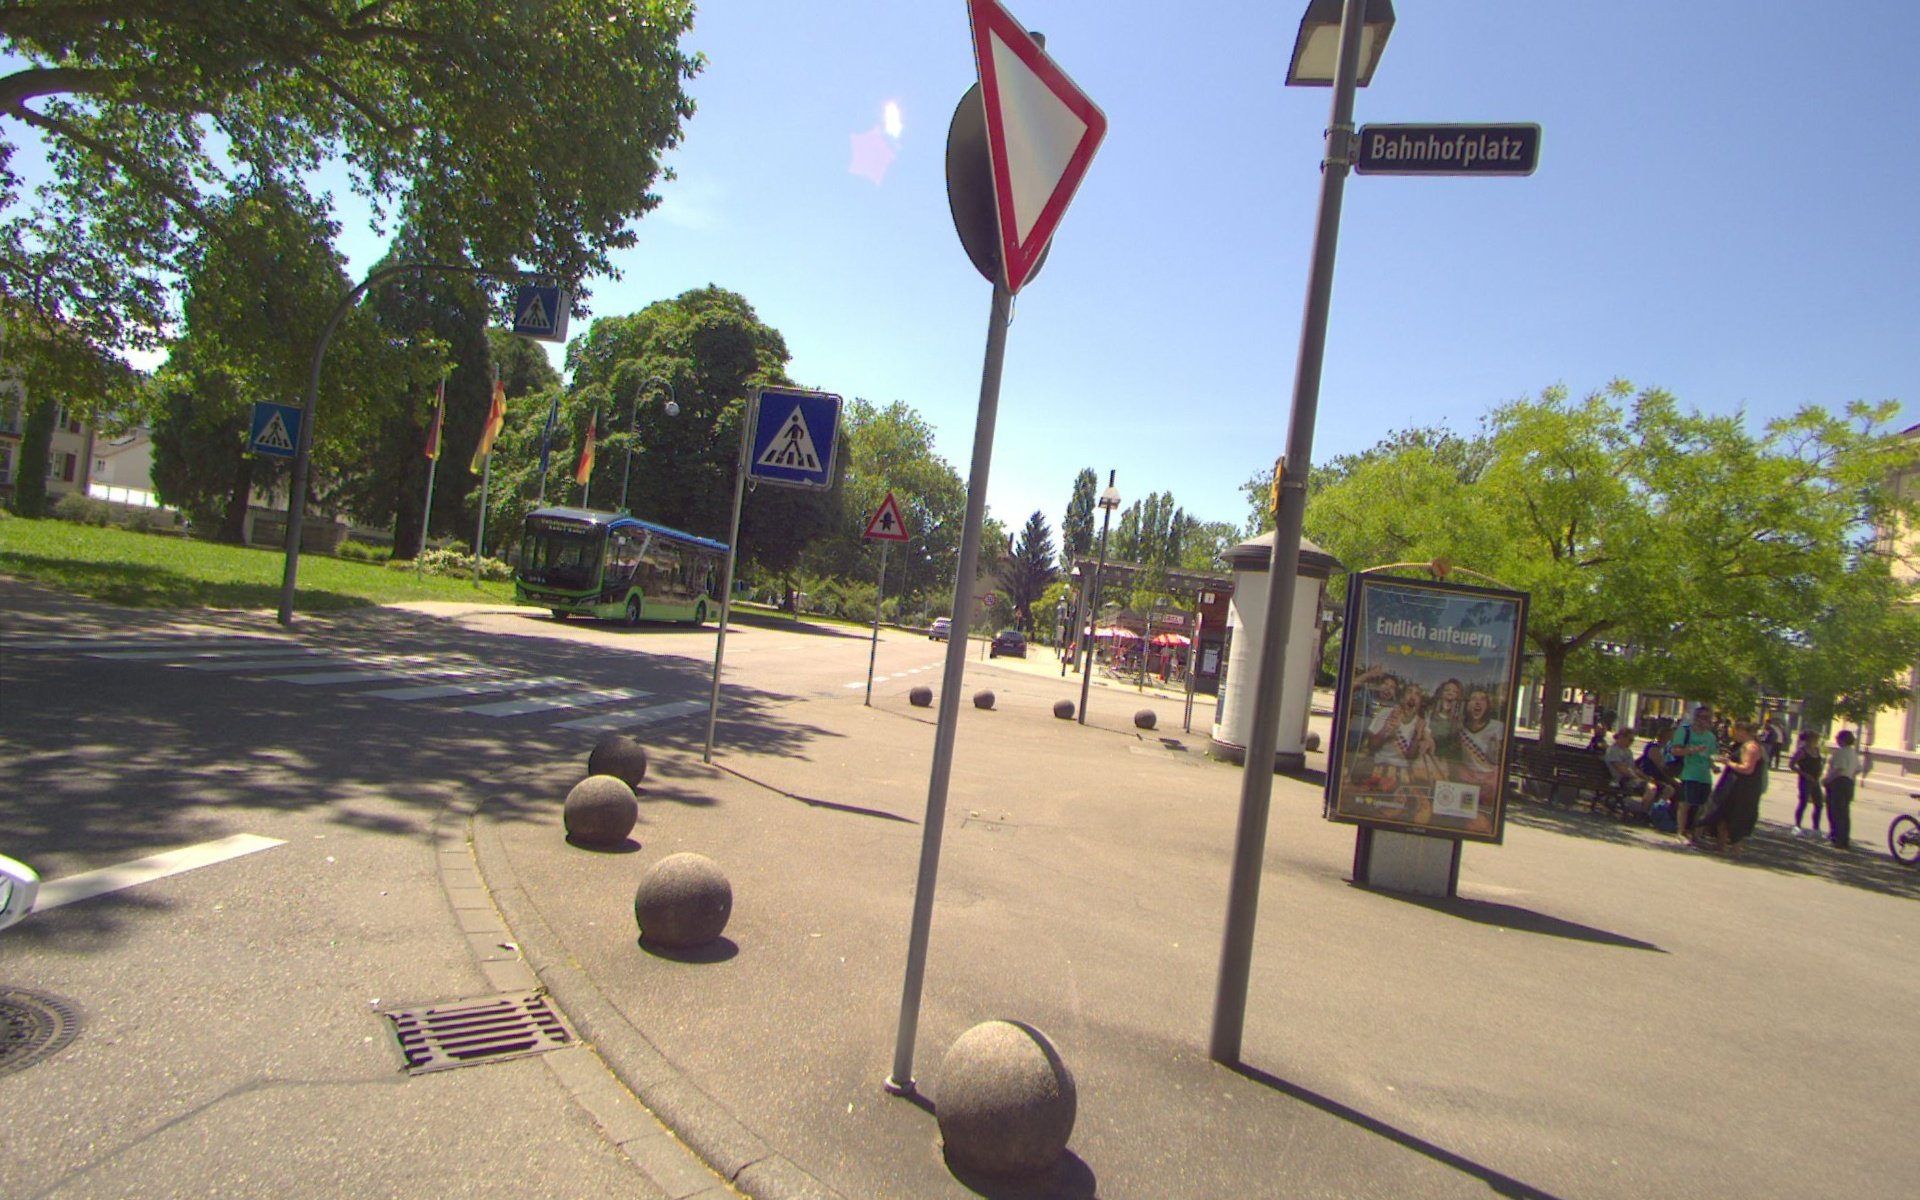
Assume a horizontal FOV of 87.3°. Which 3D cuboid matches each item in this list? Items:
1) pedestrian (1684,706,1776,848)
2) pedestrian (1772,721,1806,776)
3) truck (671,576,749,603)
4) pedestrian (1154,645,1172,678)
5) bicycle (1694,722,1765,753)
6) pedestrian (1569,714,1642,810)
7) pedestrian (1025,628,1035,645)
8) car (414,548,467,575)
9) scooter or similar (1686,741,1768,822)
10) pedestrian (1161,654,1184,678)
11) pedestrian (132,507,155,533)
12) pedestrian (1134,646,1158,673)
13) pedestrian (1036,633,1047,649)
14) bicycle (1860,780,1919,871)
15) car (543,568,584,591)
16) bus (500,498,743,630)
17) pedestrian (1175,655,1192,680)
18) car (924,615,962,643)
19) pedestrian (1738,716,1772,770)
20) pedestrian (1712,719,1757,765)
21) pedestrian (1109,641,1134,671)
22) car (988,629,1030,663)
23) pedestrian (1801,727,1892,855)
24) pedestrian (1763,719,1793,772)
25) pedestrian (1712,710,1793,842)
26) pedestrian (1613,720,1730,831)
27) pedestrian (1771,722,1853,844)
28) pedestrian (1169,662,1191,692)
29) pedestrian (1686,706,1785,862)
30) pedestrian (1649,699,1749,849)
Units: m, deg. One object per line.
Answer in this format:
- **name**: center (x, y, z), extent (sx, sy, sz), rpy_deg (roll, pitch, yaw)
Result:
- **pedestrian**: center (10.298, 2.356, 13.469), extent (0.576, 1.760, 0.597), rpy_deg (7, 0, -19)
- **pedestrian**: center (29.427, 5.251, 35.731), extent (0.620, 1.831, 0.596), rpy_deg (7, 0, 26)
- **truck**: center (-36.038, -1.573, 145.003), extent (11.152, 2.377, 2.286), rpy_deg (7, -1, 16)
- **pedestrian**: center (11.344, 3.460, 56.241), extent (0.675, 1.757, 0.708), rpy_deg (8, -2, 5)
- **bicycle**: center (39.512, 7.066, 51.677), extent (2.744, 1.015, 0.968), rpy_deg (10, -1, 3)
- **pedestrian**: center (10.182, 2.546, 15.872), extent (0.591, 1.381, 0.596), rpy_deg (7, 0, -23)
- **pedestrian**: center (7.677, 4.033, 110.828), extent (0.627, 1.667, 0.750), rpy_deg (7, -2, 33)
- **car**: center (-47.633, -3.550, 92.356), extent (1.841, 1.771, 4.005), rpy_deg (9, -2, 16)
- **scooter or similar**: center (12.518, 2.954, 16.420), extent (1.009, 1.153, 0.294), rpy_deg (8, 0, -2)
- **pedestrian**: center (11.469, 3.553, 54.284), extent (0.885, 1.175, 0.683), rpy_deg (8, 0, -29)
- **pedestrian**: center (-48.076, -4.723, 59.219), extent (0.821, 1.386, 0.612), rpy_deg (10, -1, -35)
- **pedestrian**: center (10.074, 3.235, 54.515), extent (0.885, 1.328, 0.683), rpy_deg (8, 0, -29)
- **pedestrian**: center (9.100, 4.564, 112.731), extent (0.711, 1.667, 0.750), rpy_deg (7, -2, 33)
- **bicycle**: center (12.950, 3.072, 13.252), extent (0.414, 1.072, 1.950), rpy_deg (7, -1, 3)
- **car**: center (-42.527, -2.157, 108.030), extent (1.841, 1.858, 4.005), rpy_deg (9, -2, 16)
- **bus**: center (-10.767, -0.836, 34.185), extent (2.765, 3.322, 12.433), rpy_deg (8, -1, 5)
- **pedestrian**: center (11.164, 3.367, 50.271), extent (0.675, 1.175, 0.895), rpy_deg (7, 0, 10)
- **car**: center (-1.131, 2.058, 70.273), extent (1.951, 1.646, 4.781), rpy_deg (7, -1, 5)
- **pedestrian**: center (28.768, 5.164, 36.414), extent (0.678, 1.831, 0.631), rpy_deg (7, 0, 27)
- **pedestrian**: center (30.176, 5.527, 39.224), extent (0.908, 1.609, 0.857), rpy_deg (7, 0, 3)
- **pedestrian**: center (8.527, 2.971, 53.060), extent (0.886, 1.435, 0.682), rpy_deg (8, 0, -32)
- **car**: center (2.563, 2.333, 51.378), extent (1.896, 1.478, 4.728), rpy_deg (5, -2, 4)
- **pedestrian**: center (12.922, 2.777, 14.679), extent (0.608, 1.705, 0.590), rpy_deg (7, 0, -7)
- **pedestrian**: center (29.771, 5.289, 36.621), extent (0.541, 1.831, 0.498), rpy_deg (7, 0, 26)
- **pedestrian**: center (11.288, 2.499, 14.333), extent (0.505, 1.760, 0.568), rpy_deg (7, 0, -24)
- **pedestrian**: center (10.360, 2.544, 14.661), extent (0.901, 1.403, 0.938), rpy_deg (8, 0, -24)
- **pedestrian**: center (12.973, 2.770, 15.329), extent (0.545, 1.705, 0.587), rpy_deg (7, 0, -7)
- **pedestrian**: center (10.520, 3.689, 48.199), extent (0.832, 1.293, 0.895), rpy_deg (7, 0, 10)
- **pedestrian**: center (9.400, 2.221, 12.205), extent (0.619, 1.760, 0.545), rpy_deg (7, 0, -20)
- **pedestrian**: center (9.440, 2.214, 12.857), extent (0.684, 1.785, 0.582), rpy_deg (7, 0, -21)
